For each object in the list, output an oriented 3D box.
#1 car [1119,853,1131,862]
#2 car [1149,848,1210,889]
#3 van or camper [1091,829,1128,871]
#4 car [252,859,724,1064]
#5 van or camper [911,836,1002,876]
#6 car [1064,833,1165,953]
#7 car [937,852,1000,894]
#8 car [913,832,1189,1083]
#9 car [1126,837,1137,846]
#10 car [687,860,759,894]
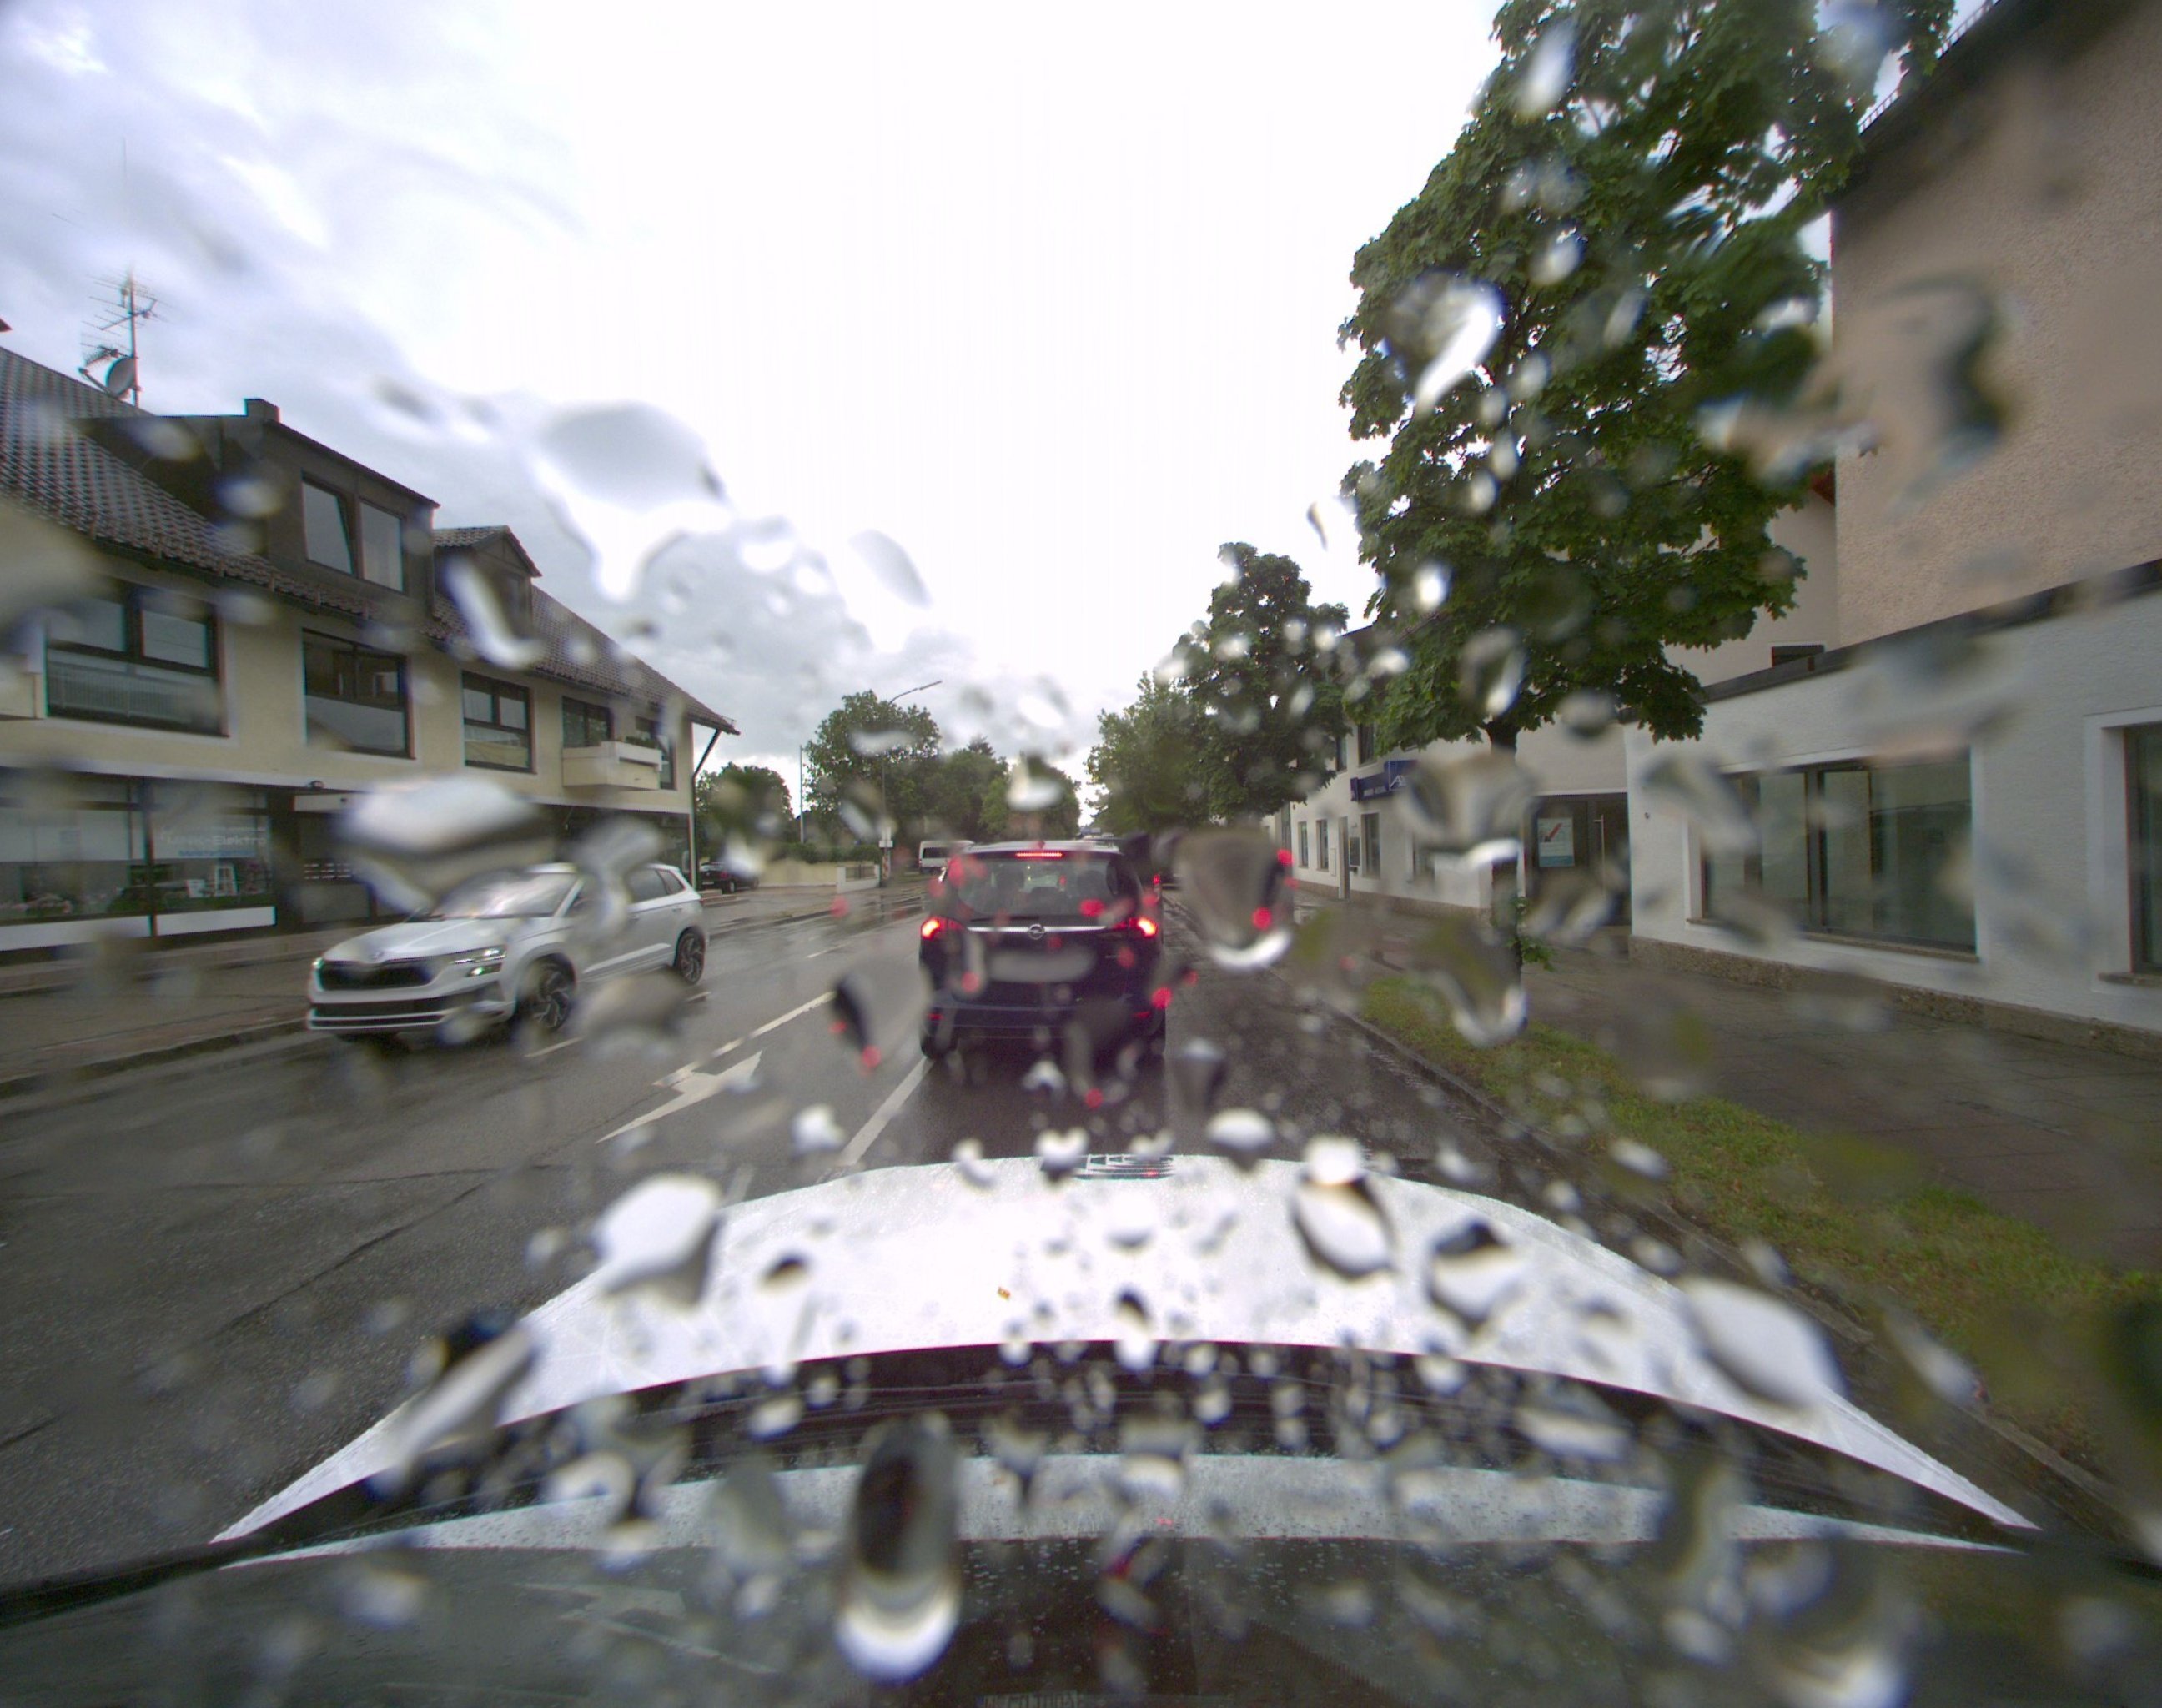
[{"bbox_3d":[6.562,0.495,122.067,1.624,1.378,3.624,0,-1,1],"label":"car"},{"bbox_3d":[3.978,0.564,33.413,2.110,1.581,3.936,0,0,1],"label":"car"},{"bbox_3d":[1.940,-0.262,56.277,2.351,2.665,5.373,-2,0,2],"label":"van or camper"},{"bbox_3d":[-5.750,0.893,8.717,1.920,1.566,4.127,-2,0,1],"label":"car"},{"bbox_3d":[-8.923,0.134,58.939,6.235,2.707,2.098,-2,0,-4],"label":"van or camper"},{"bbox_3d":[0.548,0.581,13.721,1.495,1.776,3.113,0,0,2],"label":"car"},{"bbox_3d":[-4.545,0.739,33.528,1.745,1.511,4.233,-3,0,3],"label":"car"},{"bbox_3d":[-0.141,0.668,7.100,1.762,1.604,3.664,-1,0,2],"label":"car"},{"bbox_3d":[8.090,-2.019,131.639,1.624,1.378,3.624,-3,0,1],"label":"car"},{"bbox_3d":[-16.325,1.030,37.289,1.601,1.380,3.510,-3,0,1],"label":"car"}]
